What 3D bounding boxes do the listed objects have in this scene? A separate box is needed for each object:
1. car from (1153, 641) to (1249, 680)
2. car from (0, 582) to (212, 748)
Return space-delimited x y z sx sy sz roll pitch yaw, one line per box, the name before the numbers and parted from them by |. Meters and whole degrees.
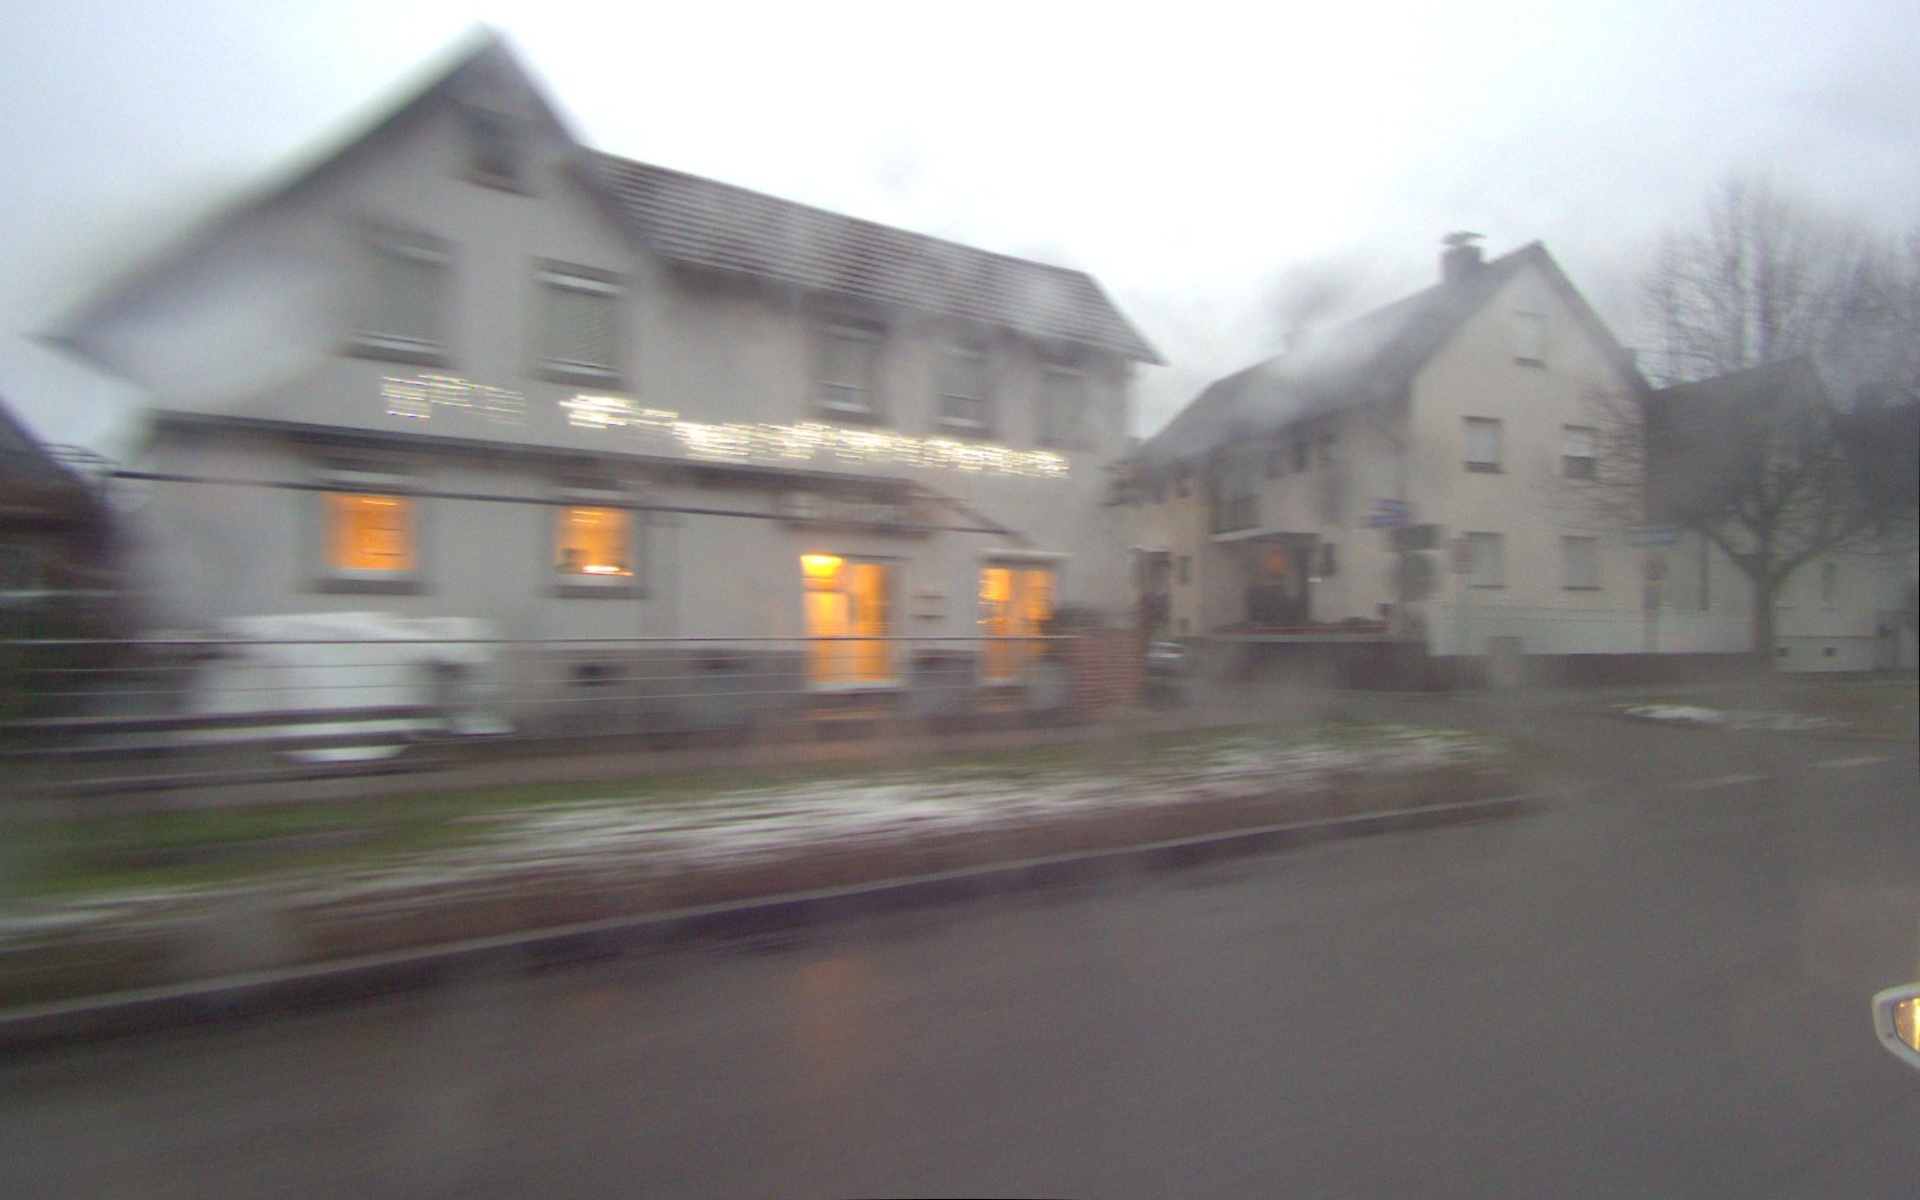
car | 7.208 1.788 30.022 2.617 1.072 1.123 1 -1 -20
car | -11.633 0.780 13.049 1.883 1.823 4.545 1 -2 -21
